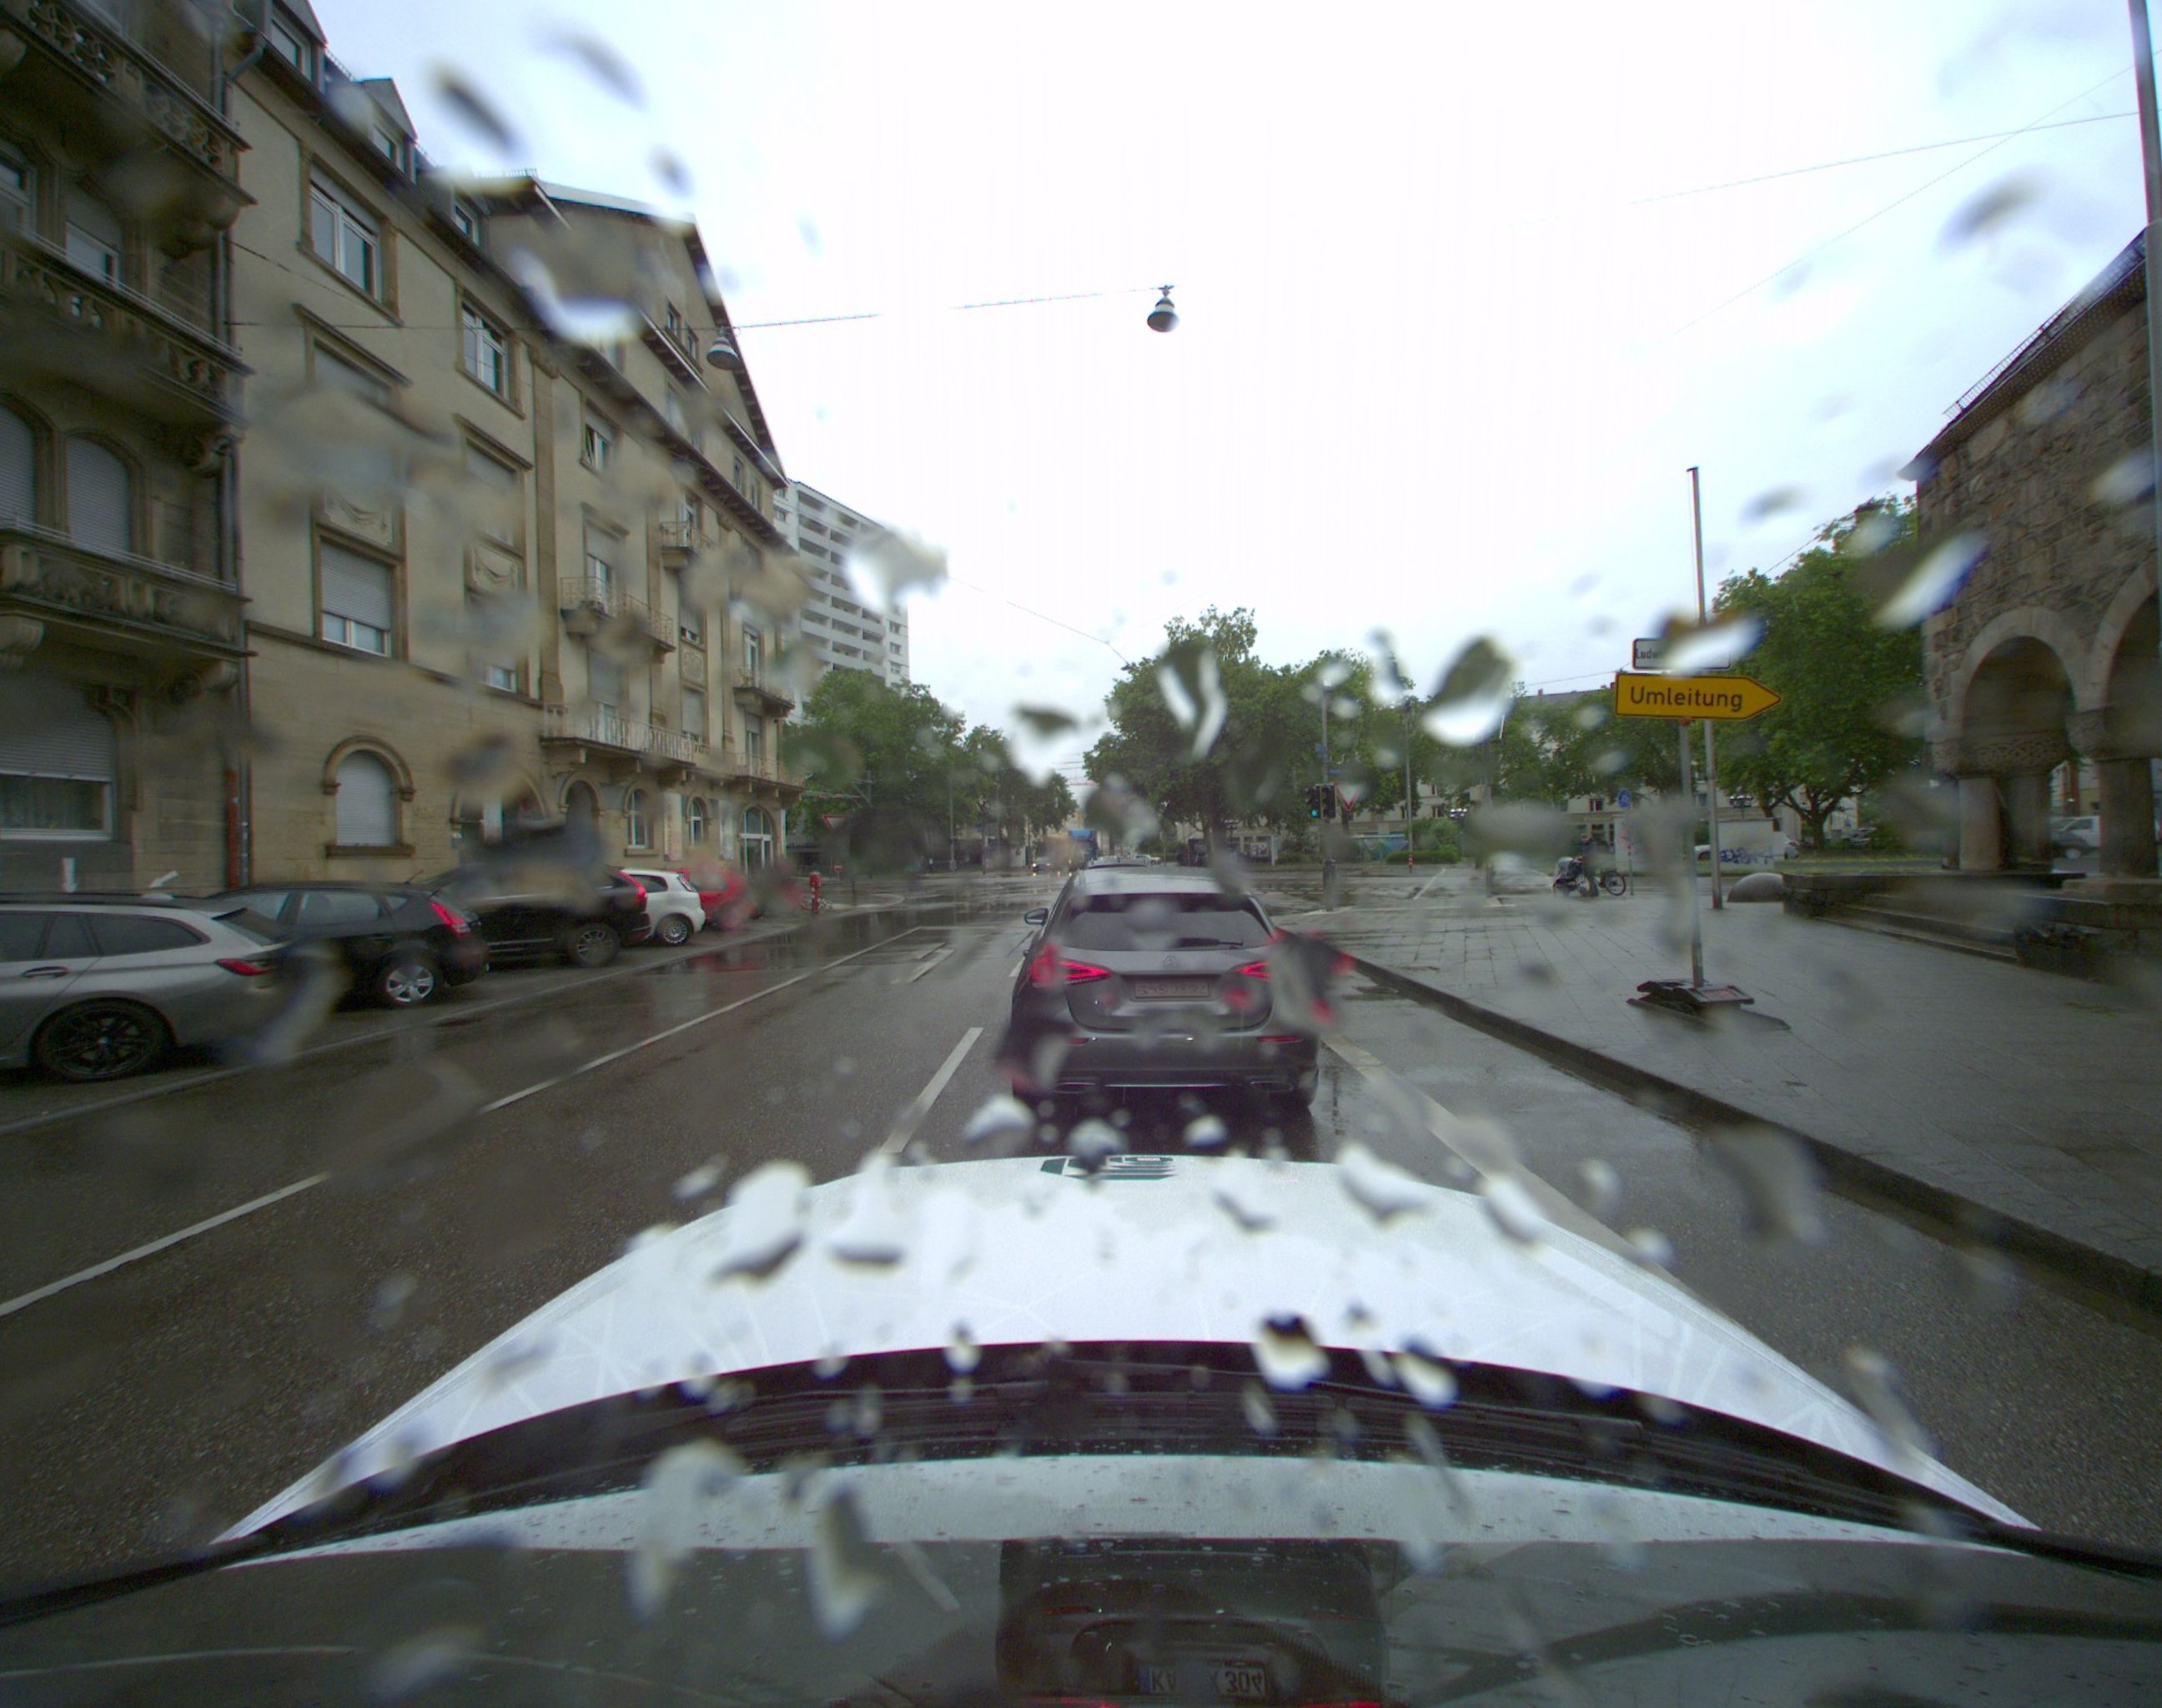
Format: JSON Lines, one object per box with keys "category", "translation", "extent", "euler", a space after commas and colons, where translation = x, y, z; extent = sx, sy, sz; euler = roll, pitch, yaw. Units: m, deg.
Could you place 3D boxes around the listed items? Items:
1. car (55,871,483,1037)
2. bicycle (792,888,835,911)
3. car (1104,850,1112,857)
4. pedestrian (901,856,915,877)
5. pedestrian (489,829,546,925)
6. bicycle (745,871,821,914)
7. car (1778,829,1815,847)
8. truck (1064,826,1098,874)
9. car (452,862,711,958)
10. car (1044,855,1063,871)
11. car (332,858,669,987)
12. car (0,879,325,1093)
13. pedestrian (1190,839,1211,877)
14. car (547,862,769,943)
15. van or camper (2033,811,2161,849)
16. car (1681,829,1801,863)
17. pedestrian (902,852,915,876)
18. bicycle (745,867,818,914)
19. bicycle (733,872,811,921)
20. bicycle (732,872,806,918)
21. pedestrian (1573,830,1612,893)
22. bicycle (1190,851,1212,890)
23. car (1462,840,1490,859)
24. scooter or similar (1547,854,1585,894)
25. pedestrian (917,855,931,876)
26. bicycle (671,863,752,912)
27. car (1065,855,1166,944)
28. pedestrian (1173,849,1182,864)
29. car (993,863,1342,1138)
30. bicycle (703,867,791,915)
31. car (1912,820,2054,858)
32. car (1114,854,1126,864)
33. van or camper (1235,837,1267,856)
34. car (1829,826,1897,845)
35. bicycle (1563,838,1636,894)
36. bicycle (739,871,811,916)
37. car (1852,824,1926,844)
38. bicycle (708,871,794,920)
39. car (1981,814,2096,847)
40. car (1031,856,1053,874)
{"category": "car", "translation": [-9.086, 1.001, 9.552], "extent": [3.326, 1.525, 1.682], "euler": [0, 0, -37]}
{"category": "bicycle", "translation": [-8.416, 1.427, 25.590], "extent": [1.045, 0.663, 1.464], "euler": [1, -1, -29]}
{"category": "car", "translation": [7.167, -0.095, 219.029], "extent": [1.880, 1.836, 4.006], "euler": [-2, -1, 6]}
{"category": "pedestrian", "translation": [-13.988, 1.014, 65.813], "extent": [0.785, 1.648, 0.820], "euler": [-3, 0, 17]}
{"category": "pedestrian", "translation": [-14.047, 0.568, 20.310], "extent": [0.838, 2.340, 0.768], "euler": [-2, 0, 24]}
{"category": "bicycle", "translation": [-8.611, 1.107, 23.543], "extent": [1.974, 1.185, 0.475], "euler": [2, -1, -2]}
{"category": "car", "translation": [68.868, -1.527, 78.441], "extent": [1.694, 1.618, 4.024], "euler": [-1, -1, 27]}
{"category": "truck", "translation": [0.119, -0.354, 76.389], "extent": [2.835, 4.025, 10.319], "euler": [-2, 0, 1]}
{"category": "car", "translation": [-9.322, 0.937, 15.357], "extent": [4.013, 1.533, 1.685], "euler": [0, 0, -38]}
{"category": "car", "translation": [-2.839, 0.949, 85.135], "extent": [1.720, 1.546, 4.341], "euler": [-2, 0, 1]}
{"category": "car", "translation": [-8.955, 0.933, 12.873], "extent": [4.104, 1.692, 1.744], "euler": [0, 0, -38]}
{"category": "car", "translation": [-8.776, 1.039, 6.817], "extent": [3.446, 1.544, 1.682], "euler": [0, 0, -38]}
{"category": "pedestrian", "translation": [4.590, 0.133, 31.285], "extent": [0.740, 1.398, 1.049], "euler": [-3, 0, 8]}
{"category": "car", "translation": [-9.393, 1.003, 18.323], "extent": [1.780, 1.508, 4.025], "euler": [-2, 0, 42]}
{"category": "van or camper", "translation": [56.287, -1.312, 44.835], "extent": [4.615, 1.914, 2.011], "euler": [-2, 0, 21]}
{"category": "car", "translation": [34.237, -0.412, 42.404], "extent": [4.499, 1.599, 1.802], "euler": [-2, 0, 24]}
{"category": "pedestrian", "translation": [-13.415, 0.782, 63.280], "extent": [0.683, 1.838, 0.632], "euler": [-2, -1, -40]}
{"category": "bicycle", "translation": [-8.862, 1.075, 24.136], "extent": [1.967, 1.330, 0.438], "euler": [-2, 0, 3]}
{"category": "bicycle", "translation": [-8.121, 1.104, 21.438], "extent": [1.800, 1.184, 0.601], "euler": [2, 0, 7]}
{"category": "bicycle", "translation": [-8.621, 1.118, 22.532], "extent": [1.804, 1.184, 0.475], "euler": [2, 0, 0]}
{"category": "pedestrian", "translation": [13.840, 0.199, 22.055], "extent": [0.600, 1.663, 0.690], "euler": [-2, 0, 5]}
{"category": "bicycle", "translation": [4.614, 0.612, 31.295], "extent": [0.745, 1.377, 2.714], "euler": [-3, 0, 9]}
{"category": "car", "translation": [35.108, -0.394, 72.488], "extent": [1.650, 1.521, 3.695], "euler": [-2, -1, 17]}
{"category": "scooter or similar", "translation": [13.301, 0.541, 22.361], "extent": [0.511, 1.048, 0.925], "euler": [-2, 0, 4]}
{"category": "pedestrian", "translation": [-12.710, 0.921, 65.952], "extent": [0.828, 1.648, 0.759], "euler": [-3, 0, 17]}
{"category": "bicycle", "translation": [-10.995, 0.990, 24.265], "extent": [2.052, 1.346, 0.584], "euler": [-2, 0, -4]}
{"category": "car", "translation": [0.627, 0.745, 15.319], "extent": [1.601, 1.372, 4.002], "euler": [-3, 0, 2]}
{"category": "pedestrian", "translation": [11.306, 0.273, 95.395], "extent": [0.710, 1.669, 0.669], "euler": [-2, -1, 44]}
{"category": "car", "translation": [0.499, 0.775, 5.957], "extent": [1.784, 1.372, 3.508], "euler": [0, 0, 2]}
{"category": "bicycle", "translation": [-10.080, 1.117, 24.659], "extent": [2.335, 1.346, 0.639], "euler": [-2, 0, -4]}
{"category": "car", "translation": [42.577, -0.707, 38.572], "extent": [4.127, 1.599, 1.789], "euler": [-2, 0, 24]}
{"category": "car", "translation": [6.798, 0.858, 142.930], "extent": [1.987, 1.574, 4.000], "euler": [-2, -1, 1]}
{"category": "van or camper", "translation": [21.142, -0.900, 101.155], "extent": [2.373, 2.231, 5.463], "euler": [-2, -1, 29]}
{"category": "car", "translation": [68.726, -1.633, 71.671], "extent": [3.950, 1.452, 1.687], "euler": [-2, -1, 27]}
{"category": "bicycle", "translation": [14.173, 0.317, 22.335], "extent": [0.531, 1.466, 1.935], "euler": [-2, 0, -8]}
{"category": "bicycle", "translation": [-8.641, 1.118, 23.041], "extent": [1.804, 1.184, 0.468], "euler": [2, 0, -1]}
{"category": "car", "translation": [66.824, -1.628, 67.431], "extent": [3.950, 1.452, 1.687], "euler": [-2, -1, 27]}
{"category": "bicycle", "translation": [-10.248, 1.277, 25.319], "extent": [2.335, 1.346, 0.639], "euler": [-3, 0, -4]}
{"category": "car", "translation": [58.422, -1.419, 49.779], "extent": [4.210, 1.778, 1.748], "euler": [-2, 0, 22]}
{"category": "car", "translation": [-3.601, 1.014, 75.952], "extent": [1.737, 1.546, 3.780], "euler": [-2, 0, 1]}
